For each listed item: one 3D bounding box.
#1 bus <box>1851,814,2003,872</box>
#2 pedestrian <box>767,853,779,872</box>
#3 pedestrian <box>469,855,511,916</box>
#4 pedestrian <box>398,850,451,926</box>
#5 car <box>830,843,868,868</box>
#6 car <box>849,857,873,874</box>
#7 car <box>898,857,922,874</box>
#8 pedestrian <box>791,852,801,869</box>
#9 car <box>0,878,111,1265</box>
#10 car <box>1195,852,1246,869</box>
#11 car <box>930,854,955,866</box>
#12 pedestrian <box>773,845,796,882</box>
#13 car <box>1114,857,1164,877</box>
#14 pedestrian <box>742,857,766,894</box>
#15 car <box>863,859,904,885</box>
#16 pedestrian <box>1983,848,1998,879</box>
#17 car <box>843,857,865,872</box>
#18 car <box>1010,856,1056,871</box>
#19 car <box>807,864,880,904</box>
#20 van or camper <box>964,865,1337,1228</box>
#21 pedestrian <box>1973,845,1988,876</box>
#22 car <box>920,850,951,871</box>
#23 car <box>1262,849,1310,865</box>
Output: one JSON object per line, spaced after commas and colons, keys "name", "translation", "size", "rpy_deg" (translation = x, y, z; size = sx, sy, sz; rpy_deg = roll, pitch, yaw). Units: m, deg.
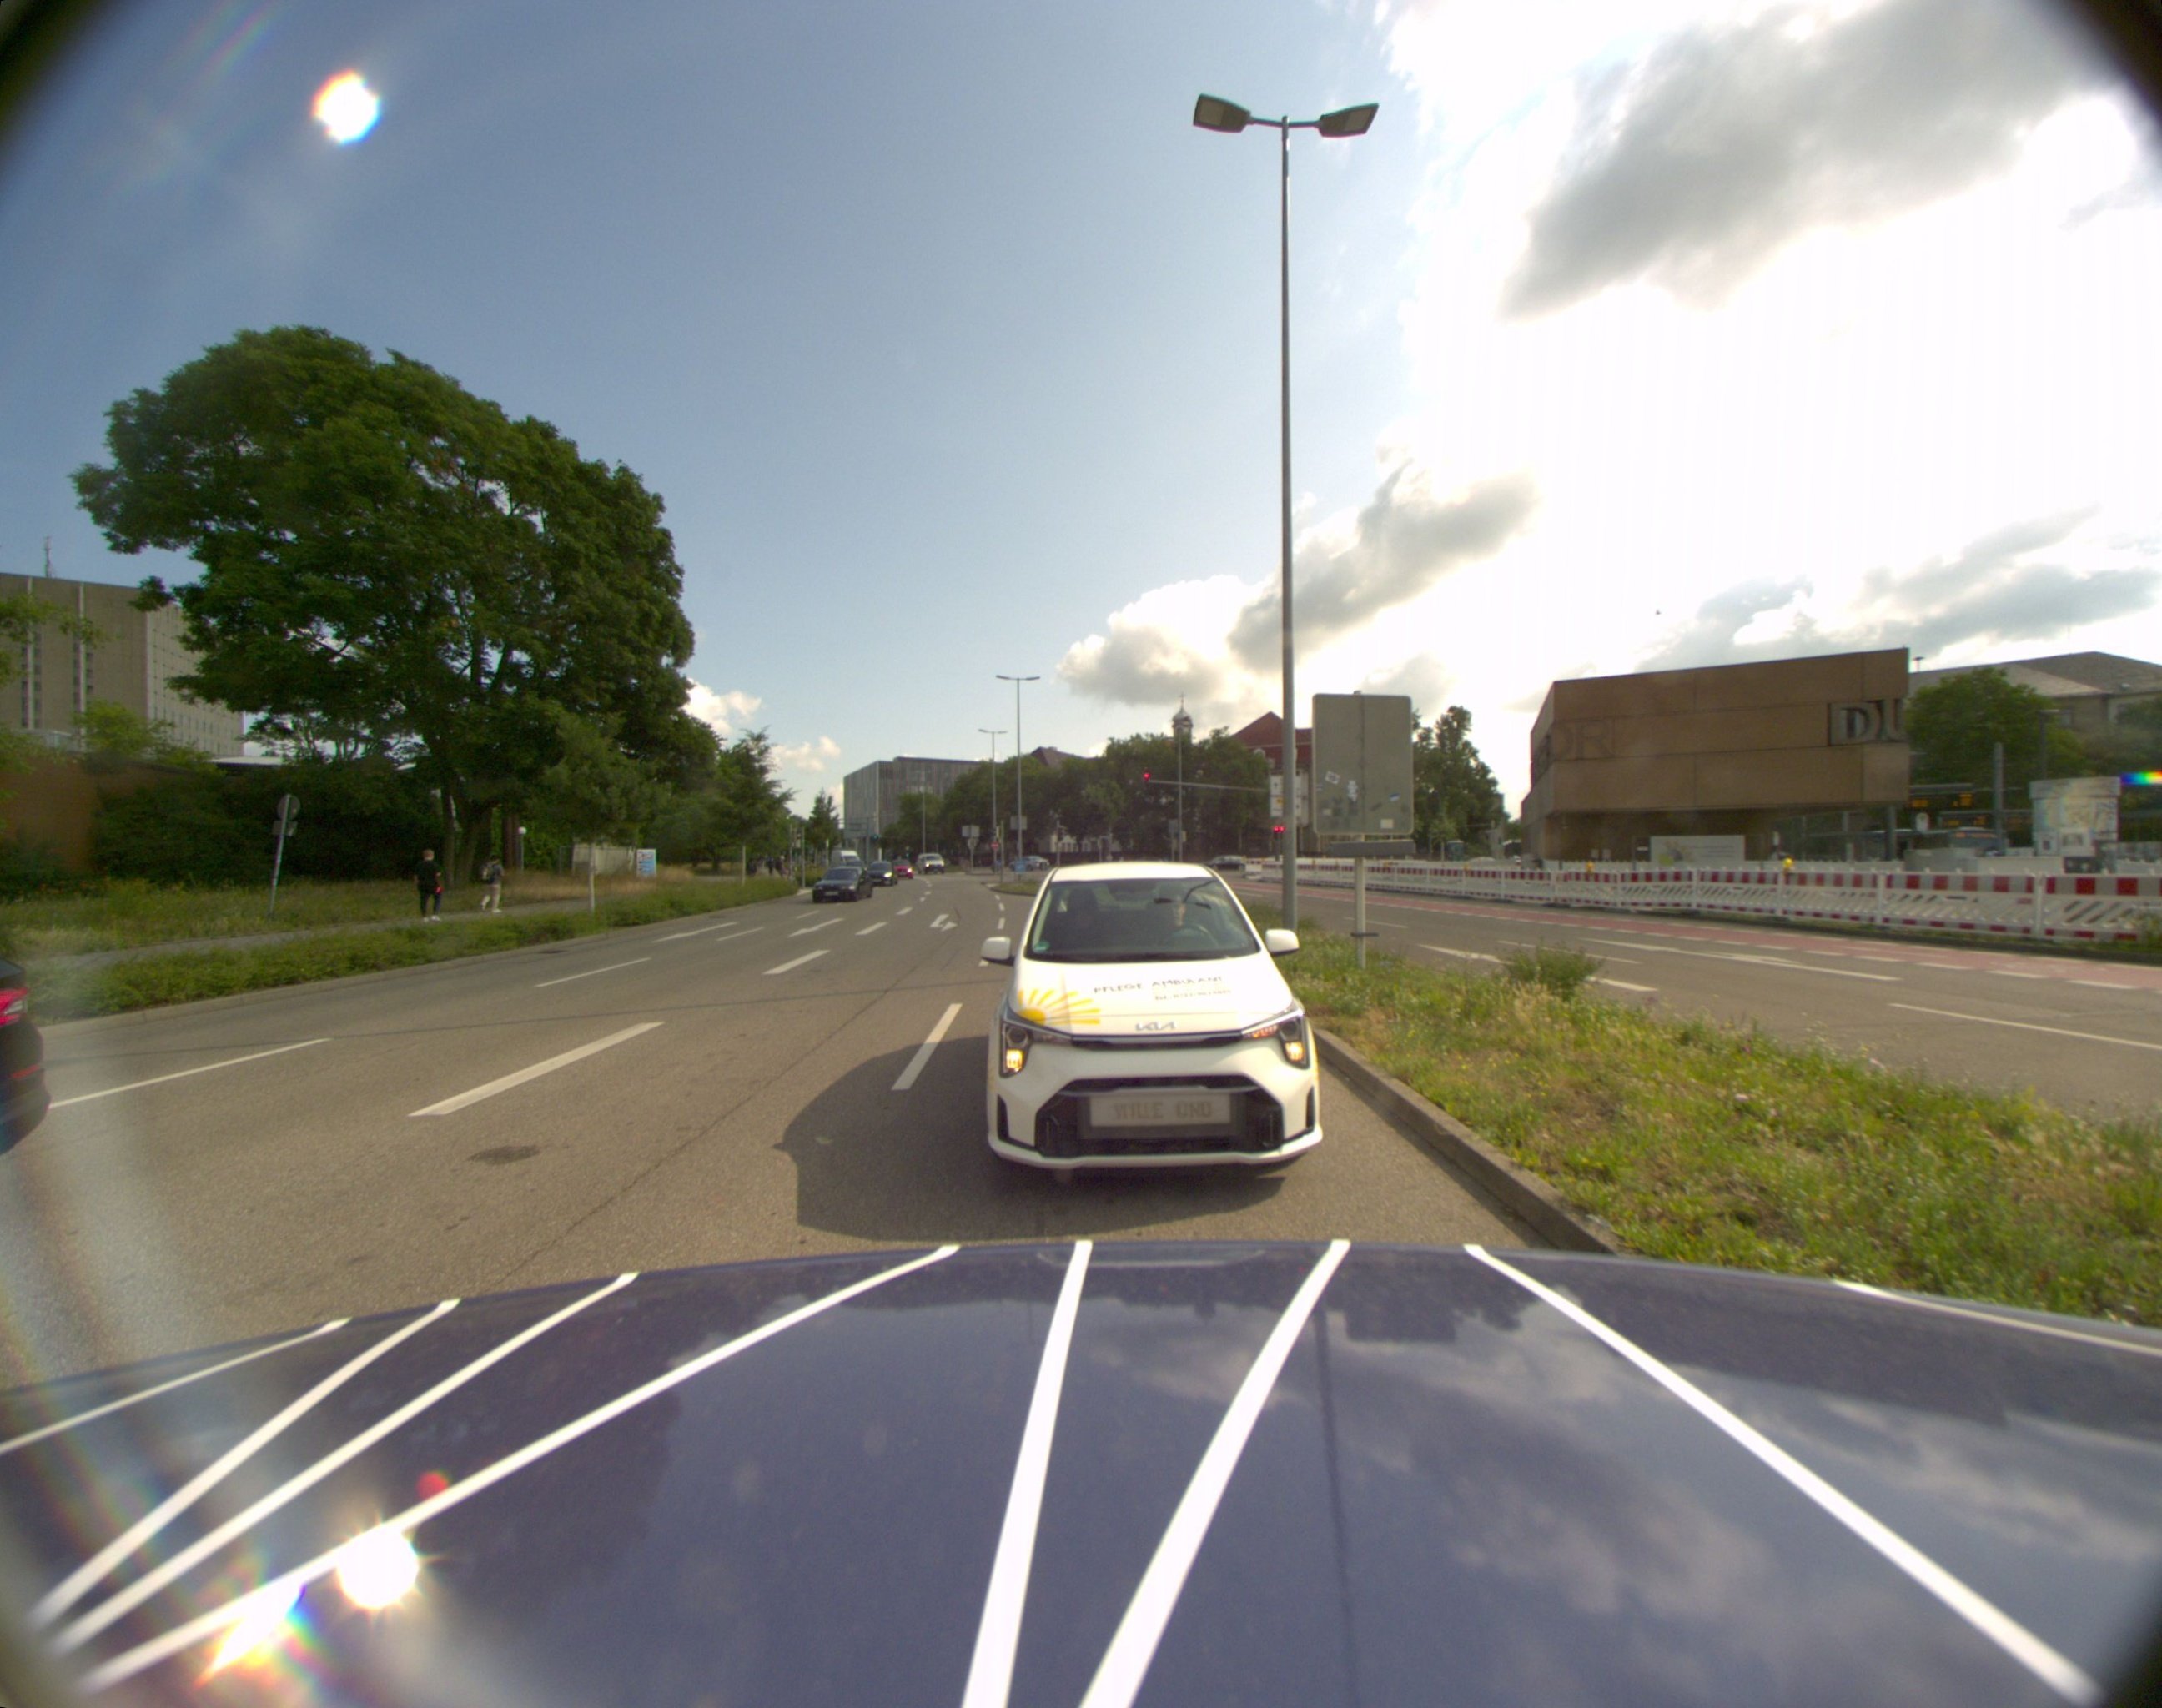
{"name": "bus", "translation": [57.821, -0.692, 52.505], "size": [2.957, 3.487, 12.276], "rpy_deg": [0, 0, 28]}
{"name": "pedestrian", "translation": [-32.434, 0.863, 79.940], "size": [0.988, 2.002, 1.128], "rpy_deg": [-3, 1, -16]}
{"name": "pedestrian", "translation": [-17.338, 0.908, 22.298], "size": [0.671, 1.736, 0.645], "rpy_deg": [2, 1, 1]}
{"name": "pedestrian", "translation": [-16.510, 0.834, 19.113], "size": [0.760, 1.860, 0.645], "rpy_deg": [2, 1, 1]}
{"name": "car", "translation": [-27.099, 0.194, 88.503], "size": [2.491, 2.862, 6.133], "rpy_deg": [-1, 0, -34]}
{"name": "car", "translation": [-20.235, 1.055, 69.750], "size": [2.002, 1.477, 3.994], "rpy_deg": [-1, 0, -18]}
{"name": "car", "translation": [-13.521, 0.893, 60.203], "size": [1.610, 1.207, 3.007], "rpy_deg": [-1, 2, -8]}
{"name": "pedestrian", "translation": [-33.314, 0.762, 88.917], "size": [0.988, 2.002, 1.128], "rpy_deg": [-1, 1, -16]}
{"name": "car", "translation": [-5.681, 0.993, 1.292], "size": [1.998, 1.659, 4.683], "rpy_deg": [-1, 1, 0]}
{"name": "car", "translation": [12.134, 0.572, 65.994], "size": [4.136, 1.382, 1.756], "rpy_deg": [-1, 0, -29]}
{"name": "car", "translation": [-18.358, 0.769, 100.510], "size": [2.003, 1.586, 3.991], "rpy_deg": [-1, 0, -29]}
{"name": "pedestrian", "translation": [-16.459, 0.538, 42.250], "size": [0.988, 2.002, 1.128], "rpy_deg": [-3, 1, -16]}
{"name": "car", "translation": [5.398, 1.226, 71.048], "size": [4.343, 1.674, 1.998], "rpy_deg": [-2, 1, -8]}
{"name": "pedestrian", "translation": [-18.203, 1.166, 42.296], "size": [0.988, 2.002, 1.128], "rpy_deg": [-3, 1, -16]}
{"name": "car", "translation": [-12.015, 1.065, 46.402], "size": [1.713, 1.445, 3.998], "rpy_deg": [-1, 0, -5]}
{"name": "pedestrian", "translation": [47.213, 0.471, 39.436], "size": [0.357, 1.593, 0.365], "rpy_deg": [0, 1, 21]}
{"name": "car", "translation": [-23.146, 1.084, 77.388], "size": [2.002, 1.477, 3.993], "rpy_deg": [-1, 0, -19]}
{"name": "car", "translation": [-4.948, 0.976, 77.442], "size": [1.963, 1.479, 5.085], "rpy_deg": [-1, 0, -42]}
{"name": "car", "translation": [-9.704, 1.189, 31.370], "size": [2.000, 1.390, 4.506], "rpy_deg": [-1, 0, -6]}
{"name": "van or camper", "translation": [0.380, 0.874, 5.339], "size": [1.627, 1.467, 4.000], "rpy_deg": [0, 1, 2]}
{"name": "pedestrian", "translation": [46.827, 0.349, 39.557], "size": [0.357, 1.593, 0.365], "rpy_deg": [0, 1, 21]}
{"name": "car", "translation": [-14.481, 0.623, 75.190], "size": [2.002, 2.002, 5.065], "rpy_deg": [-3, 1, -22]}
{"name": "car", "translation": [18.796, 0.276, 69.603], "size": [4.136, 1.382, 1.756], "rpy_deg": [-1, 0, -29]}
